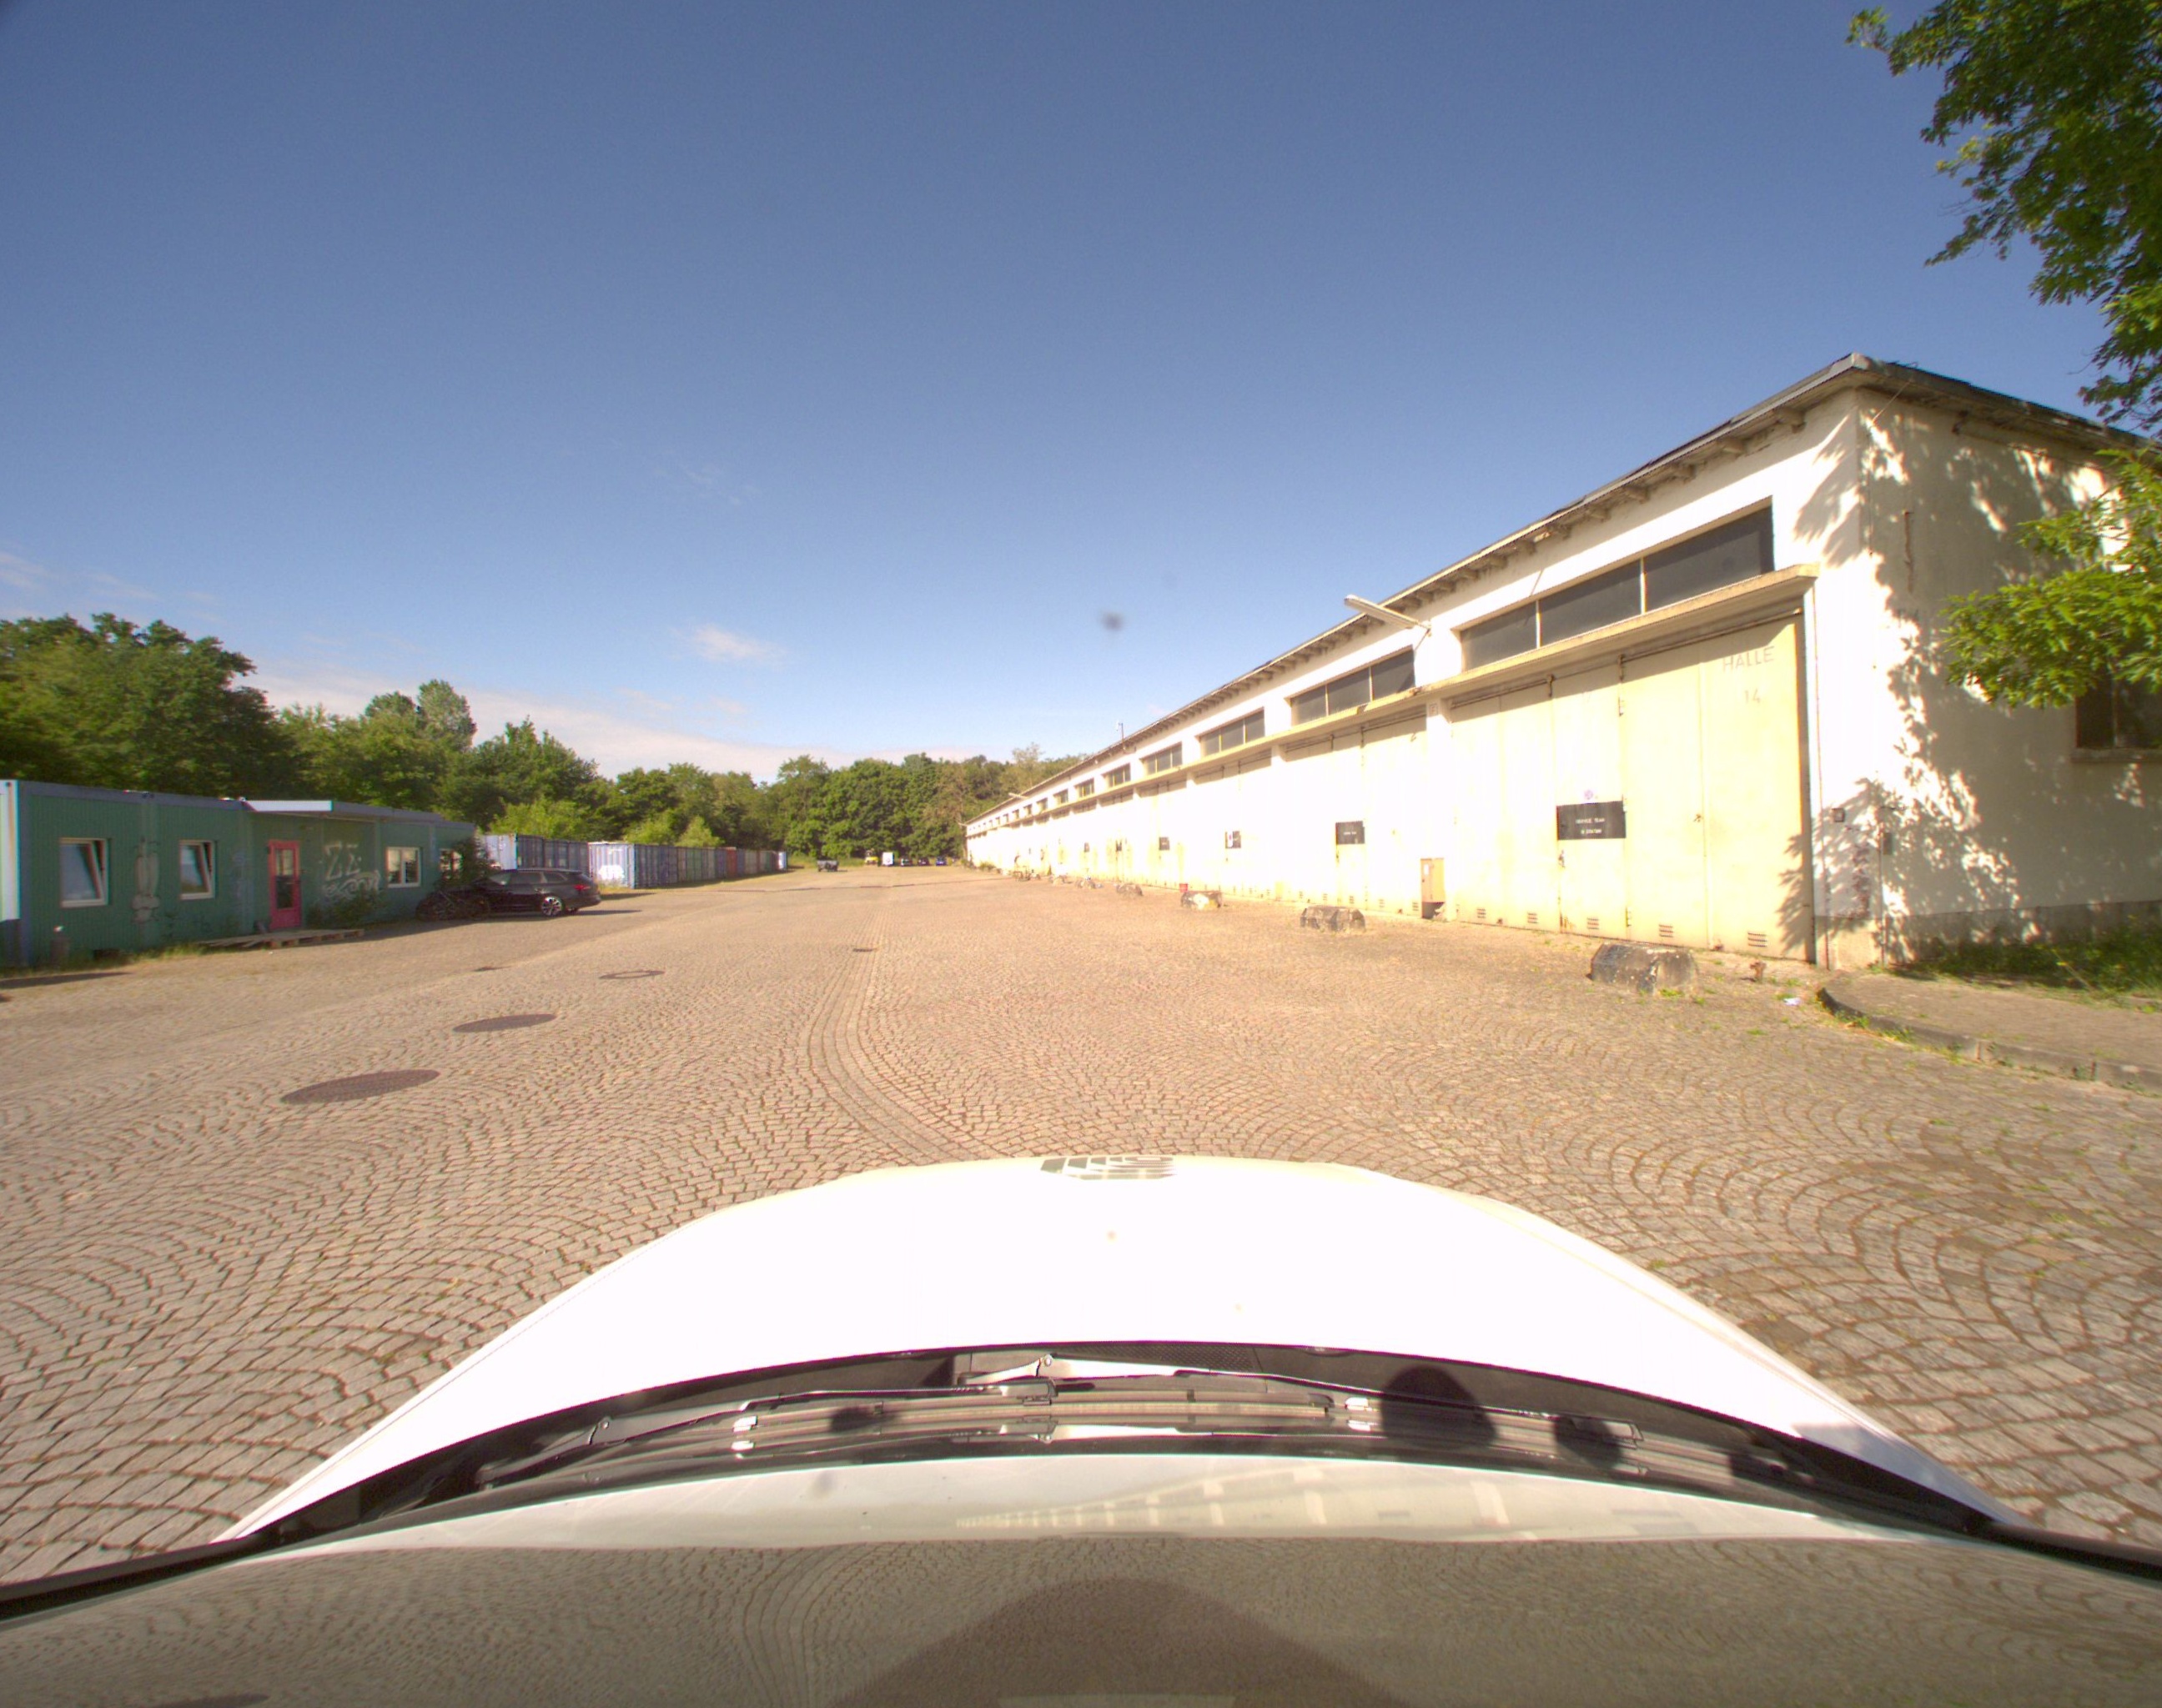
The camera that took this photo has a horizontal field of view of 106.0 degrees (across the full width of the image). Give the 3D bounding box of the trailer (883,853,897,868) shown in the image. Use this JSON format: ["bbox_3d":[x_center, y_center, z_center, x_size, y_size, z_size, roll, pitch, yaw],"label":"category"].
[{"bbox_3d":[-28.923,0.989,123.344,1.793,2.090,3.959,-2,0,-9],"label":"trailer"}]

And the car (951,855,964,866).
[{"bbox_3d":[-19.008,0.970,125.545,1.683,1.563,3.992,-2,0,-6],"label":"car"}]

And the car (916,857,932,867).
[{"bbox_3d":[-23.678,1.188,123.046,1.991,1.462,3.992,-2,0,-6],"label":"car"}]

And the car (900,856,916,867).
[{"bbox_3d":[-25.984,1.168,122.301,1.859,1.585,3.992,-2,0,-6],"label":"car"}]

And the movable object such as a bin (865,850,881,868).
[{"bbox_3d":[-31.420,0.748,123.033,1.993,2.618,3.988,0,0,-9],"label":"movable object such as a bin"}]

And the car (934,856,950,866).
[{"bbox_3d":[-21.115,1.108,123.656,1.991,1.420,3.992,-1,0,-6],"label":"car"}]

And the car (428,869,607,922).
[{"bbox_3d":[-16.700,1.188,24.372,4.061,1.413,1.720,-1,-1,-19],"label":"car"}]

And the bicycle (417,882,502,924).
[{"bbox_3d":[-17.176,1.340,22.547,1.710,1.101,0.670,0,0,-14],"label":"bicycle"}]

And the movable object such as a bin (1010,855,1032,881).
[{"bbox_3d":[-3.112,0.722,42.388,0.825,1.331,1.272,-2,0,-18],"label":"movable object such as a bin"}]

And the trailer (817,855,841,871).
[{"bbox_3d":[-31.826,1.123,103.069,2.408,2.014,4.158,0,0,-11],"label":"trailer"}]
